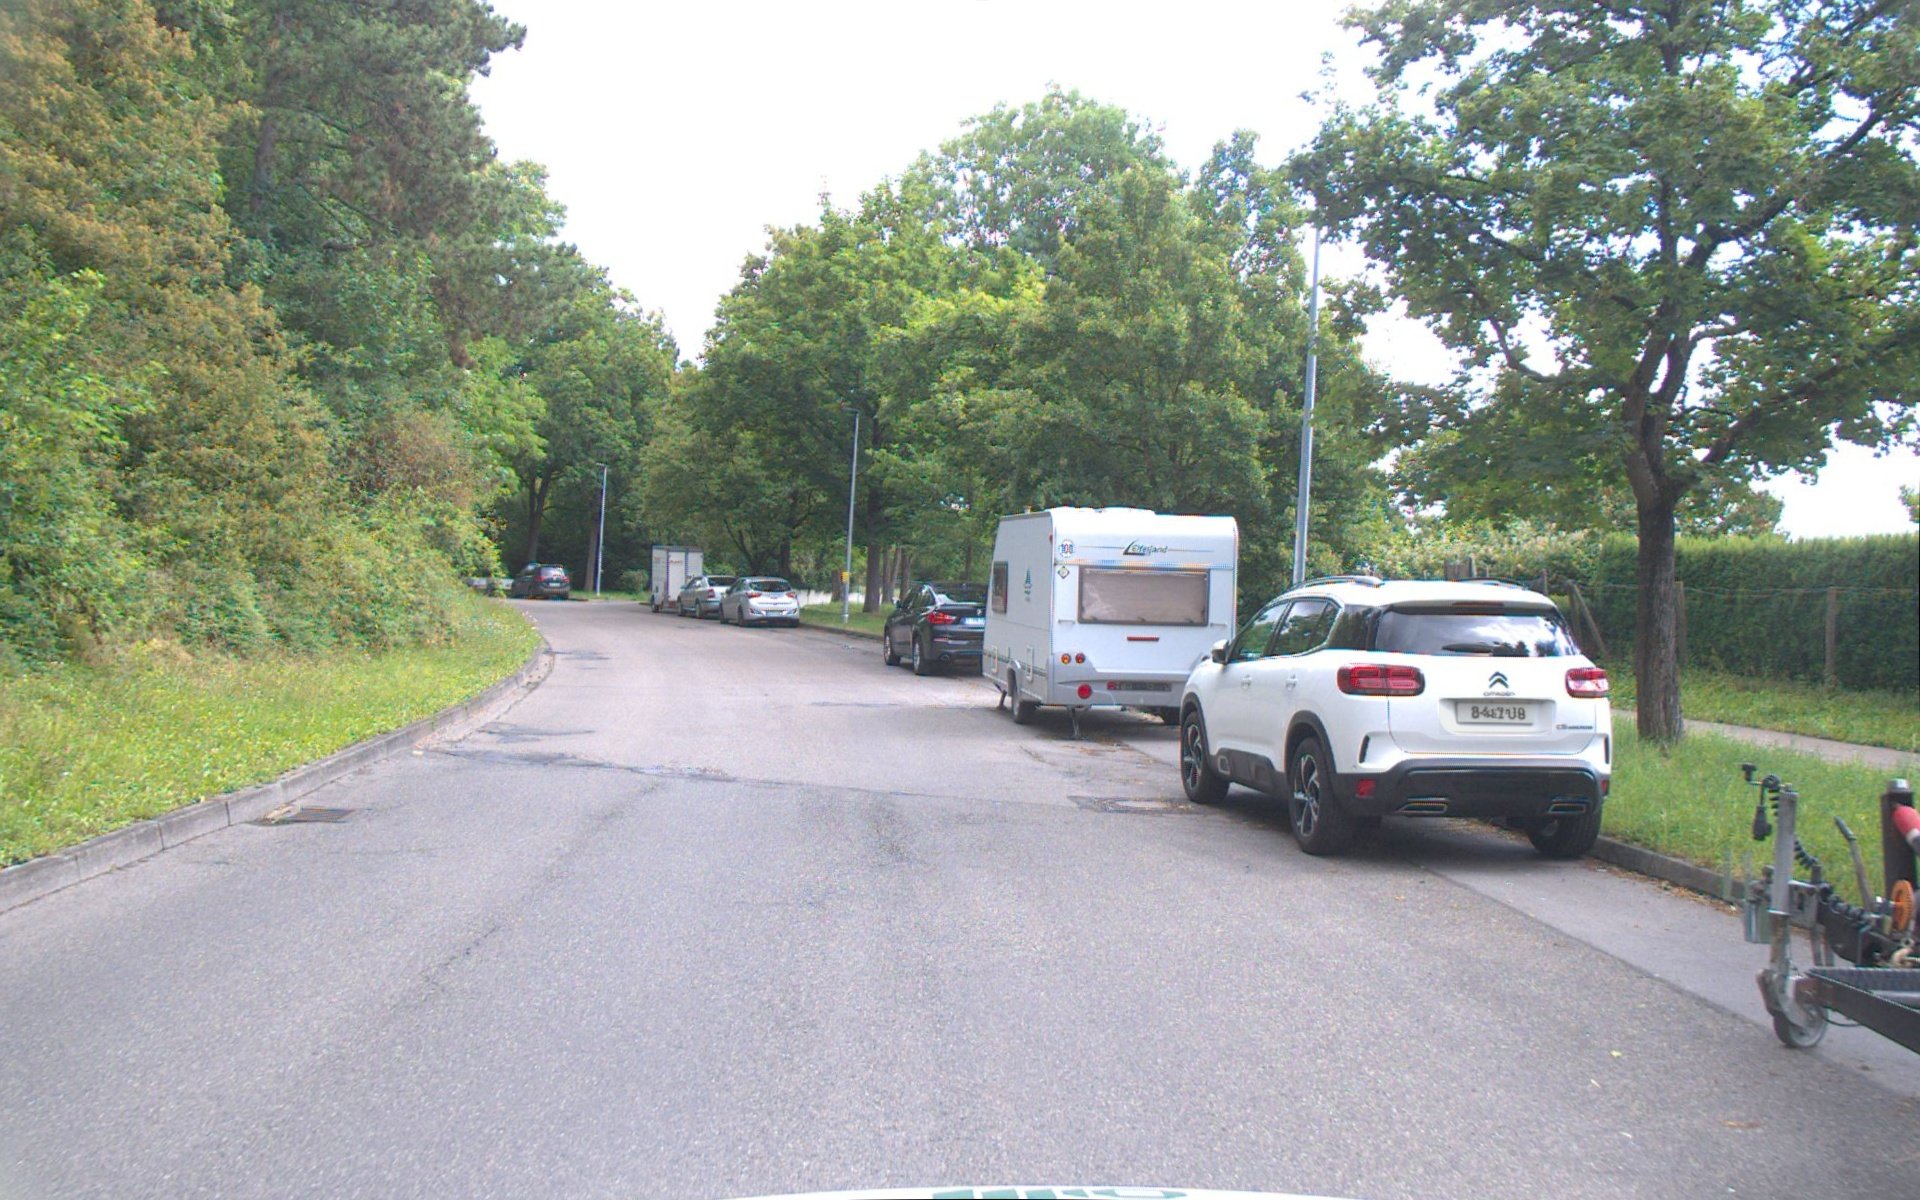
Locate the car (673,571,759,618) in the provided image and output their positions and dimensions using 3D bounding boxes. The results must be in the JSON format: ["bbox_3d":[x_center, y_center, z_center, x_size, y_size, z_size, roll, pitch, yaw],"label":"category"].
[{"bbox_3d":[-8.393,-0.204,56.633,1.718,1.552,4.601,1,0,-24],"label":"car"}]

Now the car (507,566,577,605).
[{"bbox_3d":[-19.809,-0.702,78.235,1.758,1.691,4.787,3,-1,-32],"label":"car"}]

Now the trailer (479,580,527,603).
[{"bbox_3d":[-23.059,-0.429,83.325,1.343,0.986,3.853,4,0,-30],"label":"trailer"}]

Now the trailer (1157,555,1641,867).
[{"bbox_3d":[2.800,0.652,11.755,1.738,1.761,4.643,0,-1,-7],"label":"trailer"}]

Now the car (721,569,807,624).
[{"bbox_3d":[-6.031,-0.065,50.540,1.872,1.502,4.039,3,-2,-17],"label":"car"}]

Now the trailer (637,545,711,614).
[{"bbox_3d":[-10.666,-0.761,61.499,1.738,2.469,3.857,1,1,-25],"label":"trailer"}]

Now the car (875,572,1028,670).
[{"bbox_3d":[-0.249,0.336,30.889,1.817,1.671,4.514,1,0,-14],"label":"car"}]

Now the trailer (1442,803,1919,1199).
[{"bbox_3d":[3.159,1.165,3.310,2.063,0.662,6.395,3,0,-5],"label":"trailer"}]

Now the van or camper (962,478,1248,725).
[{"bbox_3d":[1.586,0.015,20.849,2.121,2.580,6.019,2,0,-9],"label":"van or camper"}]
